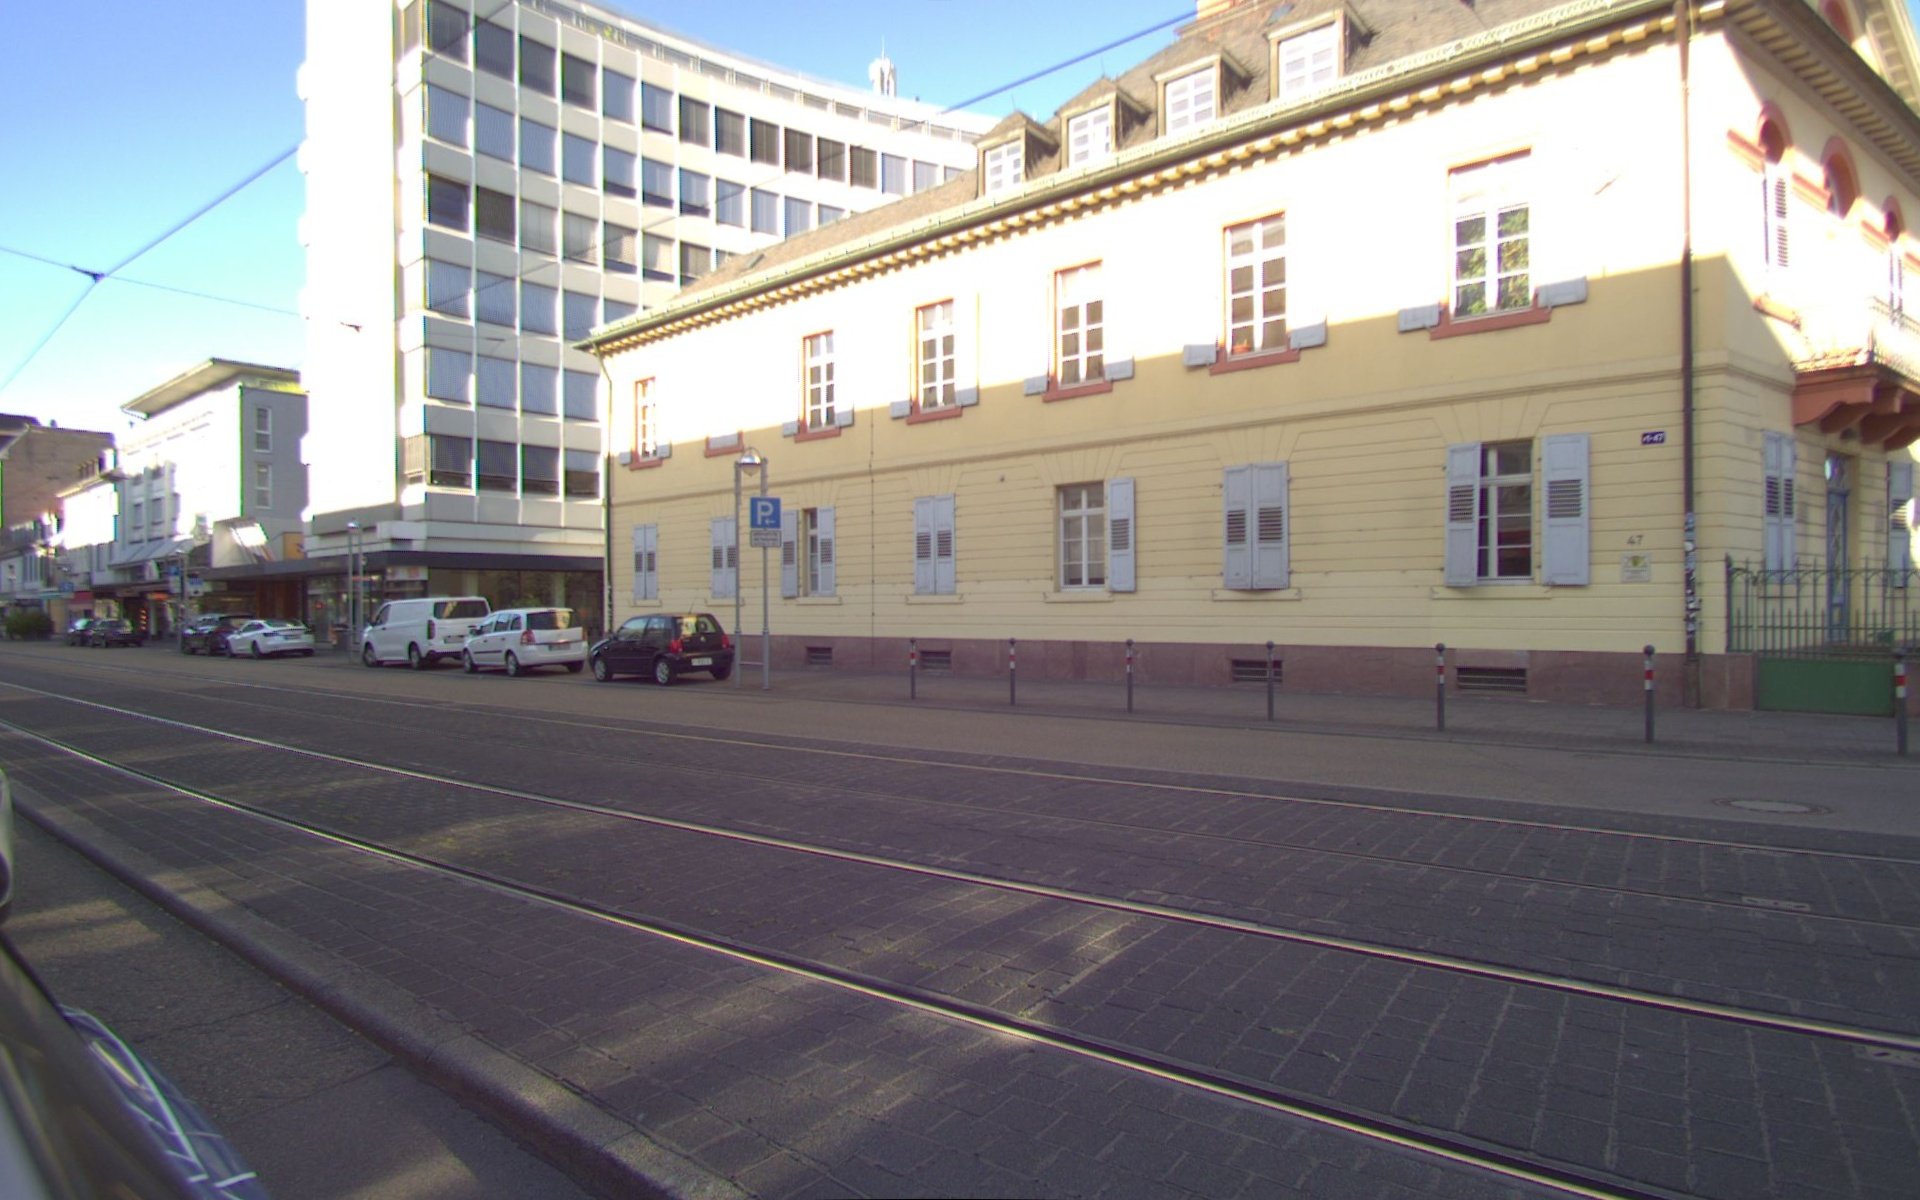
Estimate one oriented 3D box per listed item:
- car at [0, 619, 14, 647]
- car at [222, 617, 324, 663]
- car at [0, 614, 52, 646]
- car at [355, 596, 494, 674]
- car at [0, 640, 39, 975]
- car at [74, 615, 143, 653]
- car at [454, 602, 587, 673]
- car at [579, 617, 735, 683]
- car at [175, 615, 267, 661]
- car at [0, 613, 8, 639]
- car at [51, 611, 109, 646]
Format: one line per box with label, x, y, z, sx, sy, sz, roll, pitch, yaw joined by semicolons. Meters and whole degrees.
car;-71.230;2.400;74.478;3.998;2.029;1.973;-1;-1;41
car;-25.604;1.445;37.646;4.369;1.541;1.974;-1;0;39
car;-62.984;2.025;68.114;3.996;2.058;2.172;-1;-1;39
car;-15.356;0.970;28.938;4.619;2.029;2.014;-1;-1;41
car;-6.113;0.903;4.779;3.992;1.393;1.862;-1;0;36
car;-43.850;1.715;52.089;3.995;1.874;1.974;-1;0;38
car;-11.069;0.892;25.365;4.005;1.621;1.619;-1;0;43
car;-6.457;1.007;21.462;3.210;1.263;1.667;-1;0;39
car;-29.914;1.491;40.952;4.103;1.717;1.975;-1;0;38
car;-78.737;2.106;81.845;3.995;2.029;1.974;-1;0;38
car;-50.198;1.617;57.695;3.994;1.896;1.768;-1;-1;38
